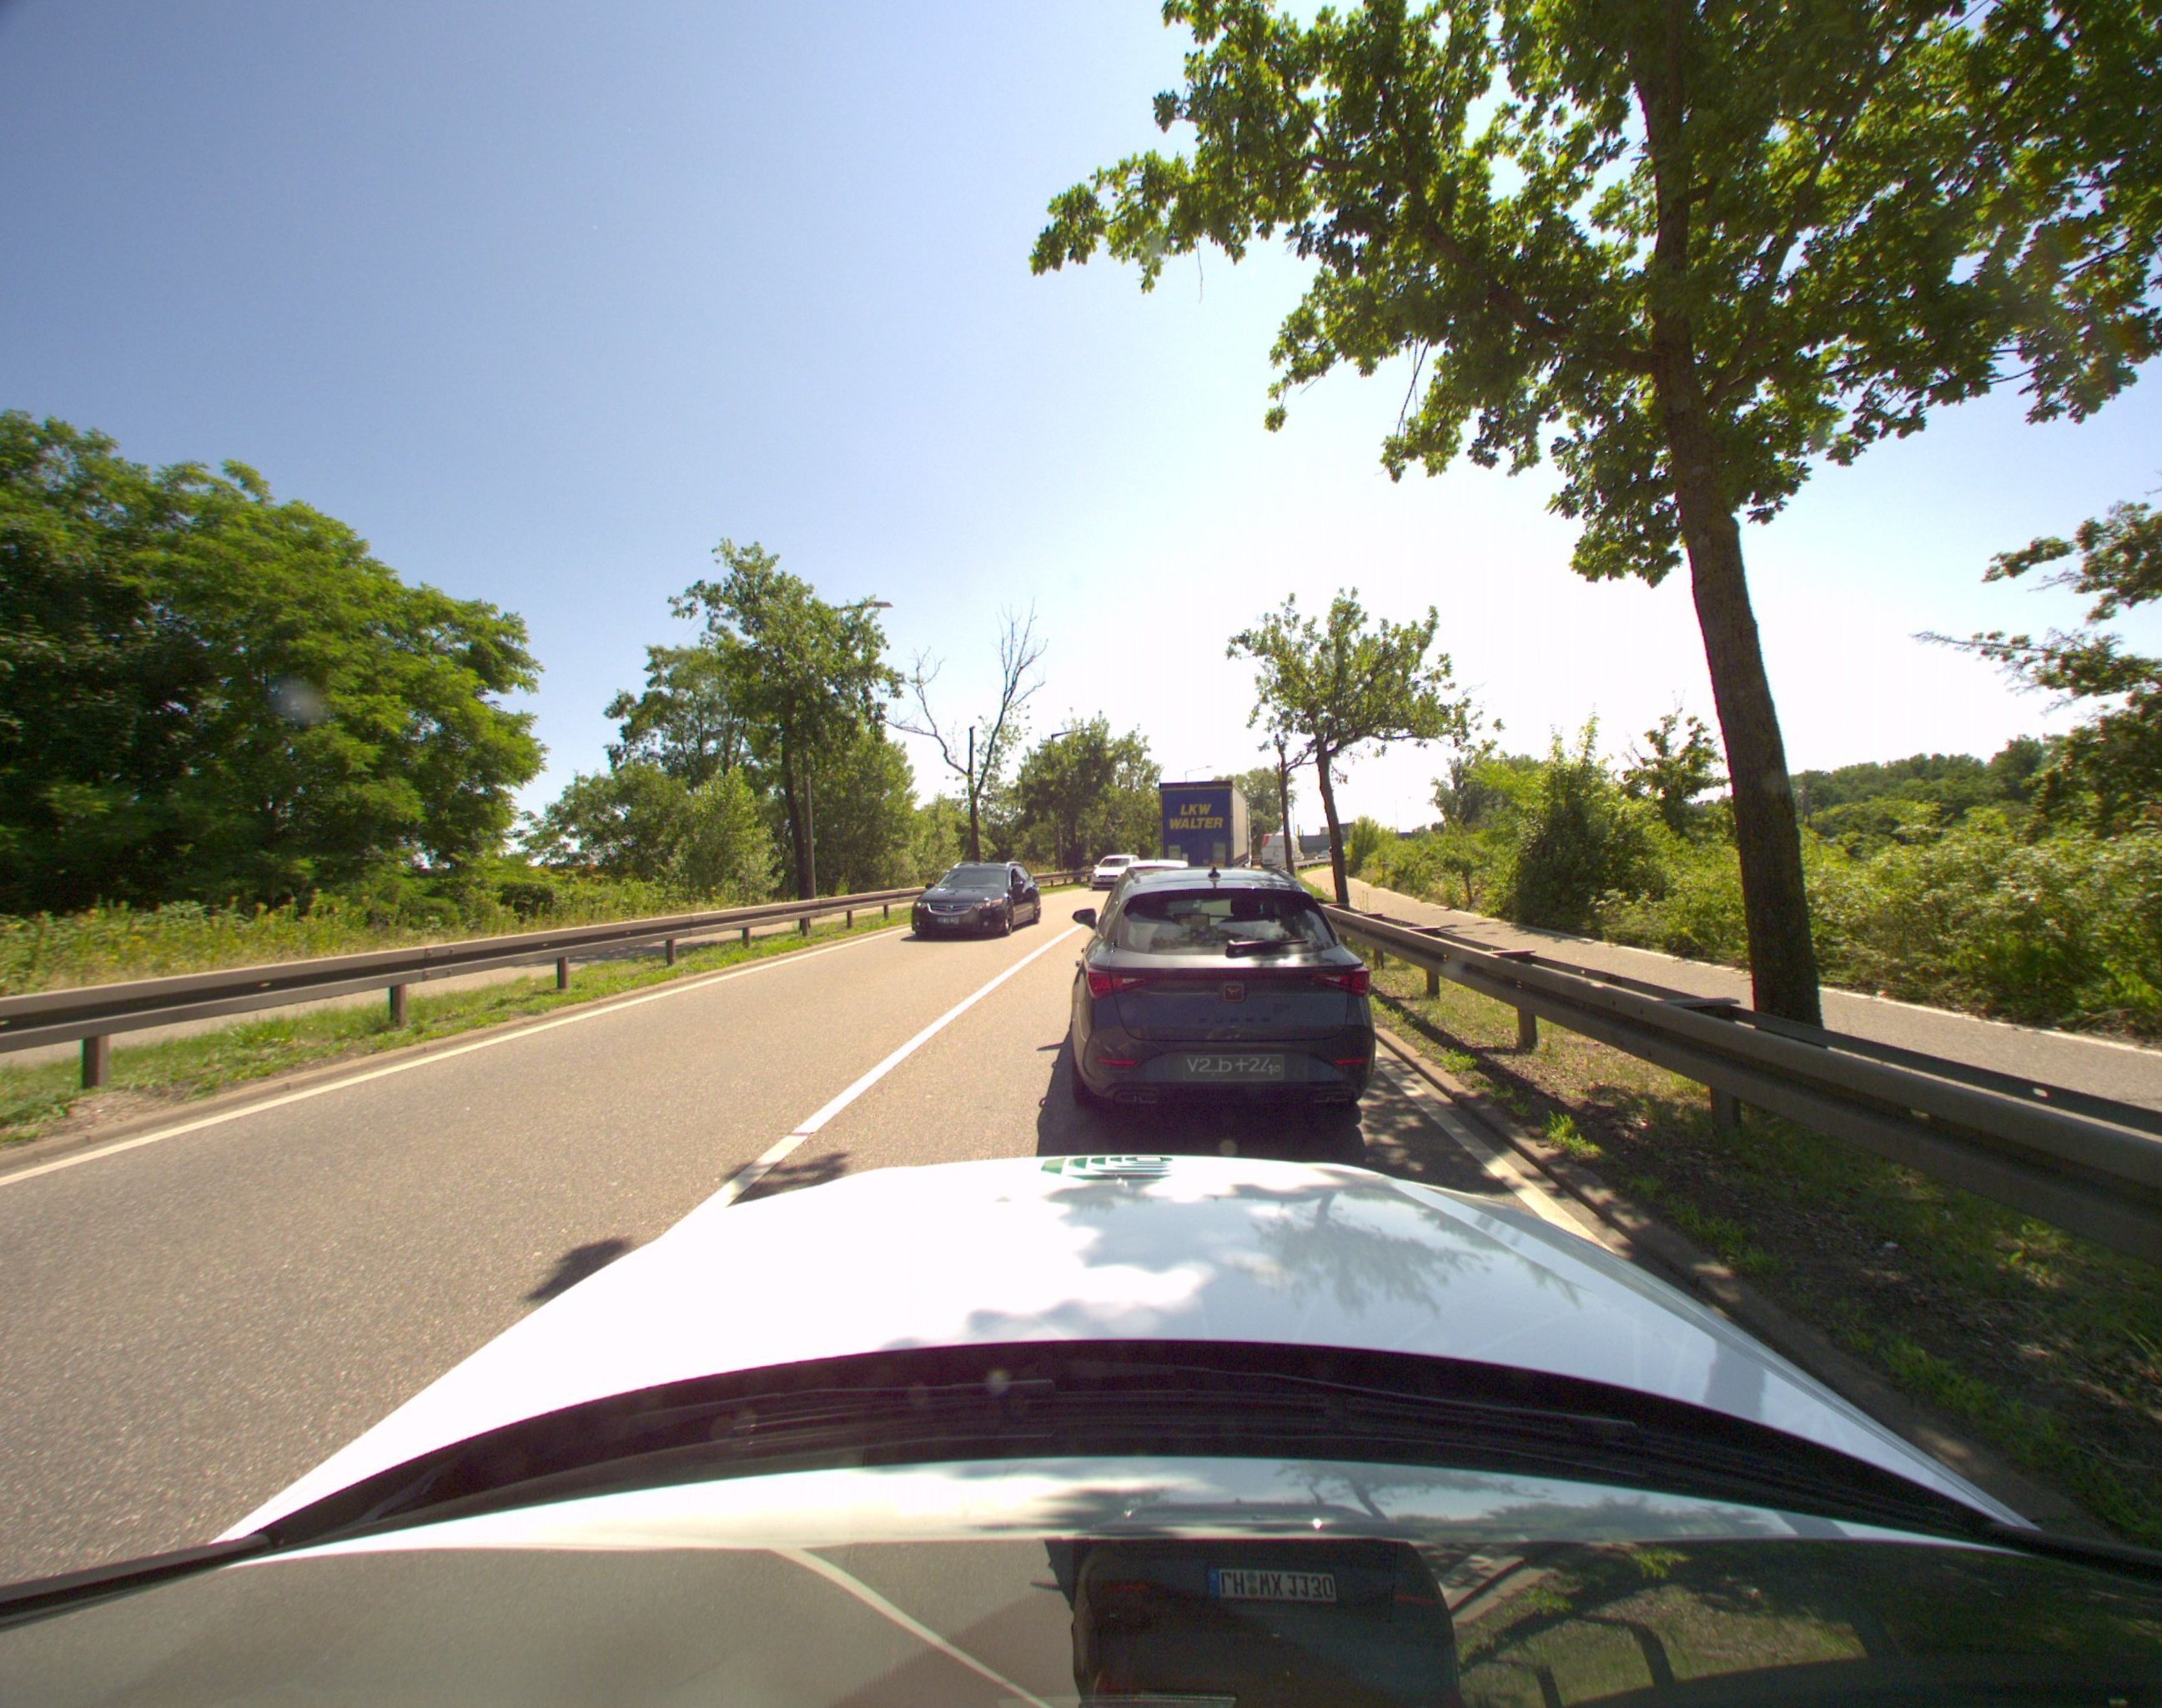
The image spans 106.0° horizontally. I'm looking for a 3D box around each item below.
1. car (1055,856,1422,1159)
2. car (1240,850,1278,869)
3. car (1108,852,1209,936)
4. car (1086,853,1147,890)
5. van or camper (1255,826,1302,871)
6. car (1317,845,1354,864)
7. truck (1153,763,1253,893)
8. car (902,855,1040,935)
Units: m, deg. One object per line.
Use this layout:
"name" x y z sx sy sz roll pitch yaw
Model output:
"car" 0.807 0.742 5.839 1.738 1.432 3.881 -1 0 1
"car" 16.201 0.521 74.068 2.109 1.681 4.909 -1 0 28
"car" 1.528 0.728 16.715 1.801 1.508 4.004 -1 0 3
"car" 1.625 0.731 35.809 1.861 1.498 4.015 -1 0 14
"van or camper" 14.350 -0.386 58.858 2.445 2.998 6.118 -2 -1 21
"car" 23.673 0.040 75.642 1.974 1.712 4.649 -1 0 34
"truck" 5.909 -0.859 36.228 2.929 4.449 16.858 -1 0 13
"car" -2.115 0.759 16.976 1.850 1.421 4.265 -1 0 6
